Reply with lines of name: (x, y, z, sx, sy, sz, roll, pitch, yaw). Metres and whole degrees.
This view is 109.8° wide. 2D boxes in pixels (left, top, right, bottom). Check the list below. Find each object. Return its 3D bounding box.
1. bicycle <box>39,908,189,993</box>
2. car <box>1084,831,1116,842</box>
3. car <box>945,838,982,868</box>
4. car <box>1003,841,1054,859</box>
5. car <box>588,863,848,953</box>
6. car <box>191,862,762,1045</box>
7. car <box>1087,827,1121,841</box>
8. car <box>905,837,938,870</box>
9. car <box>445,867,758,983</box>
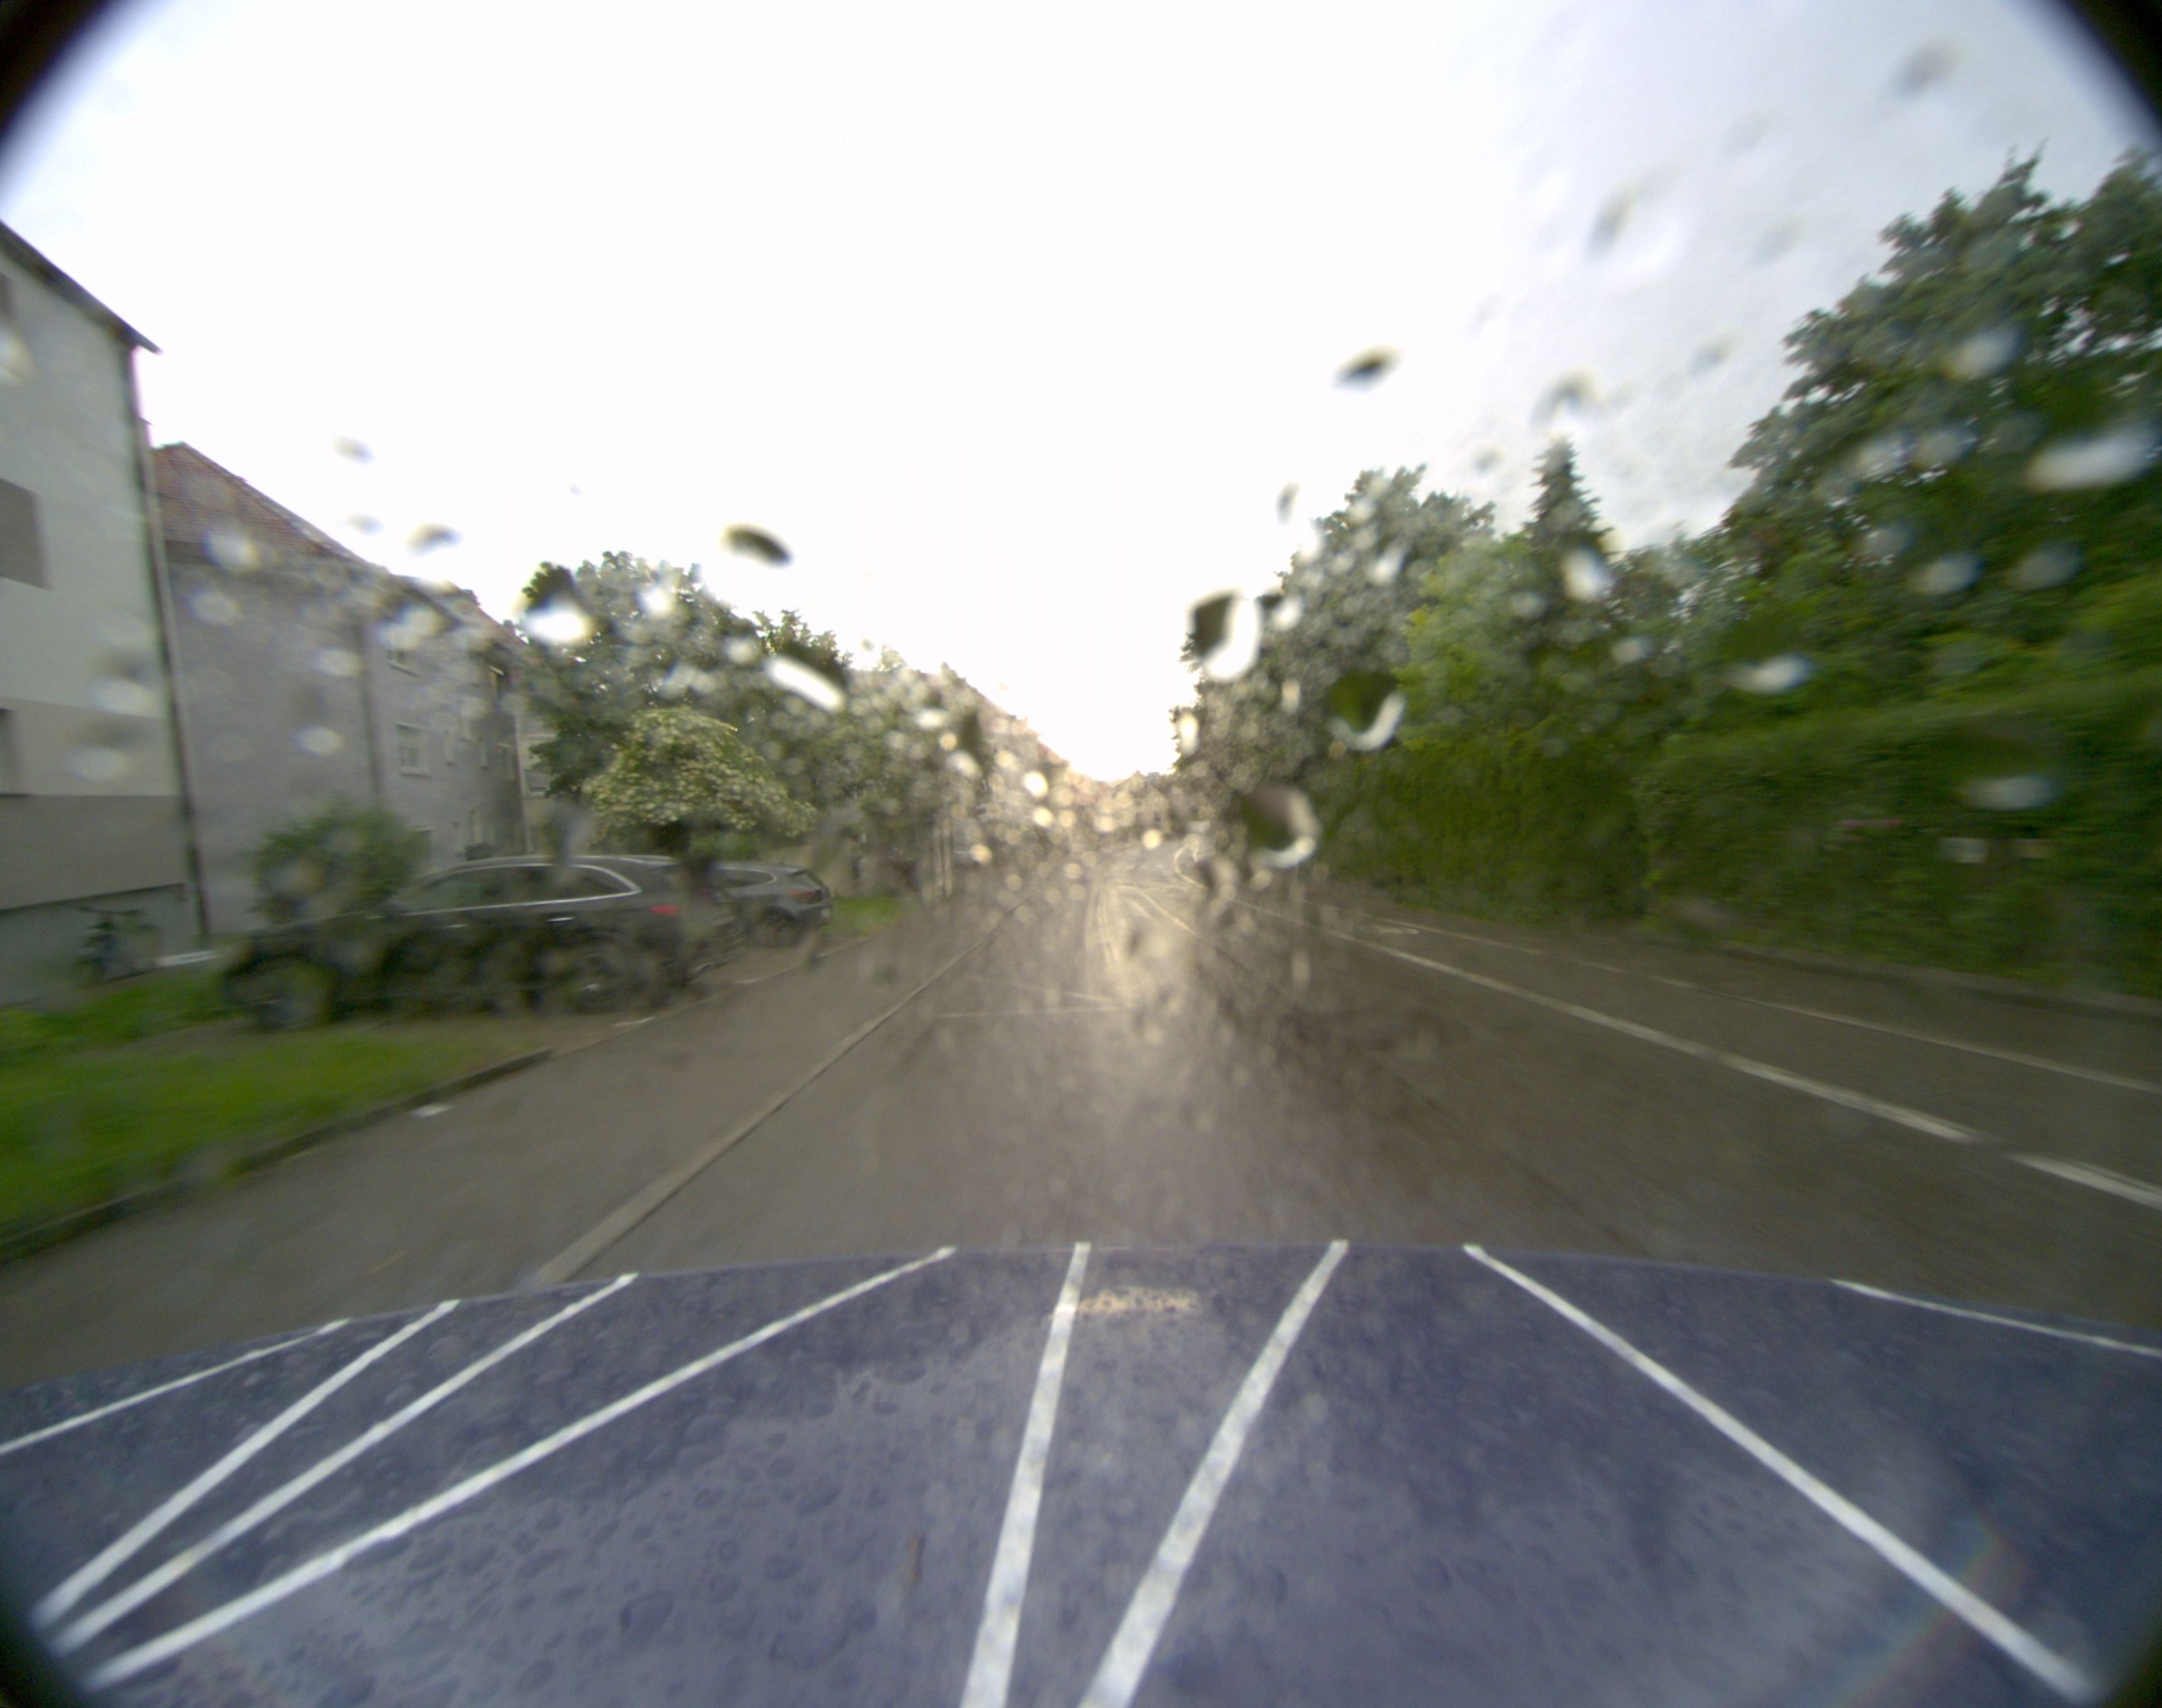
bicycle: (-13.798, 1.334, 10.913, 0.573, 0.984, 1.679, -3, 1, -24)
car: (2.321, -2.152, 93.889, 3.528, 1.332, 1.684, 0, 5, -17)
car: (-7.157, -0.094, 45.973, 1.726, 1.555, 3.786, 1, 4, -16)
car: (-4.620, -0.358, 67.330, 4.084, 1.400, 1.726, -2, 2, 23)
car: (-6.293, 0.905, 13.477, 3.753, 1.450, 1.724, -1, 0, -1)
car: (-6.119, 0.940, 8.238, 4.539, 1.651, 1.855, -1, 0, -6)
car: (2.910, -2.534, 96.398, 3.937, 1.772, 1.767, 0, 5, -15)
car: (-9.378, -0.051, 44.771, 1.797, 1.585, 4.248, 1, 4, -12)
car: (-6.776, 0.961, 11.010, 3.448, 1.488, 1.667, -1, 0, 0)
